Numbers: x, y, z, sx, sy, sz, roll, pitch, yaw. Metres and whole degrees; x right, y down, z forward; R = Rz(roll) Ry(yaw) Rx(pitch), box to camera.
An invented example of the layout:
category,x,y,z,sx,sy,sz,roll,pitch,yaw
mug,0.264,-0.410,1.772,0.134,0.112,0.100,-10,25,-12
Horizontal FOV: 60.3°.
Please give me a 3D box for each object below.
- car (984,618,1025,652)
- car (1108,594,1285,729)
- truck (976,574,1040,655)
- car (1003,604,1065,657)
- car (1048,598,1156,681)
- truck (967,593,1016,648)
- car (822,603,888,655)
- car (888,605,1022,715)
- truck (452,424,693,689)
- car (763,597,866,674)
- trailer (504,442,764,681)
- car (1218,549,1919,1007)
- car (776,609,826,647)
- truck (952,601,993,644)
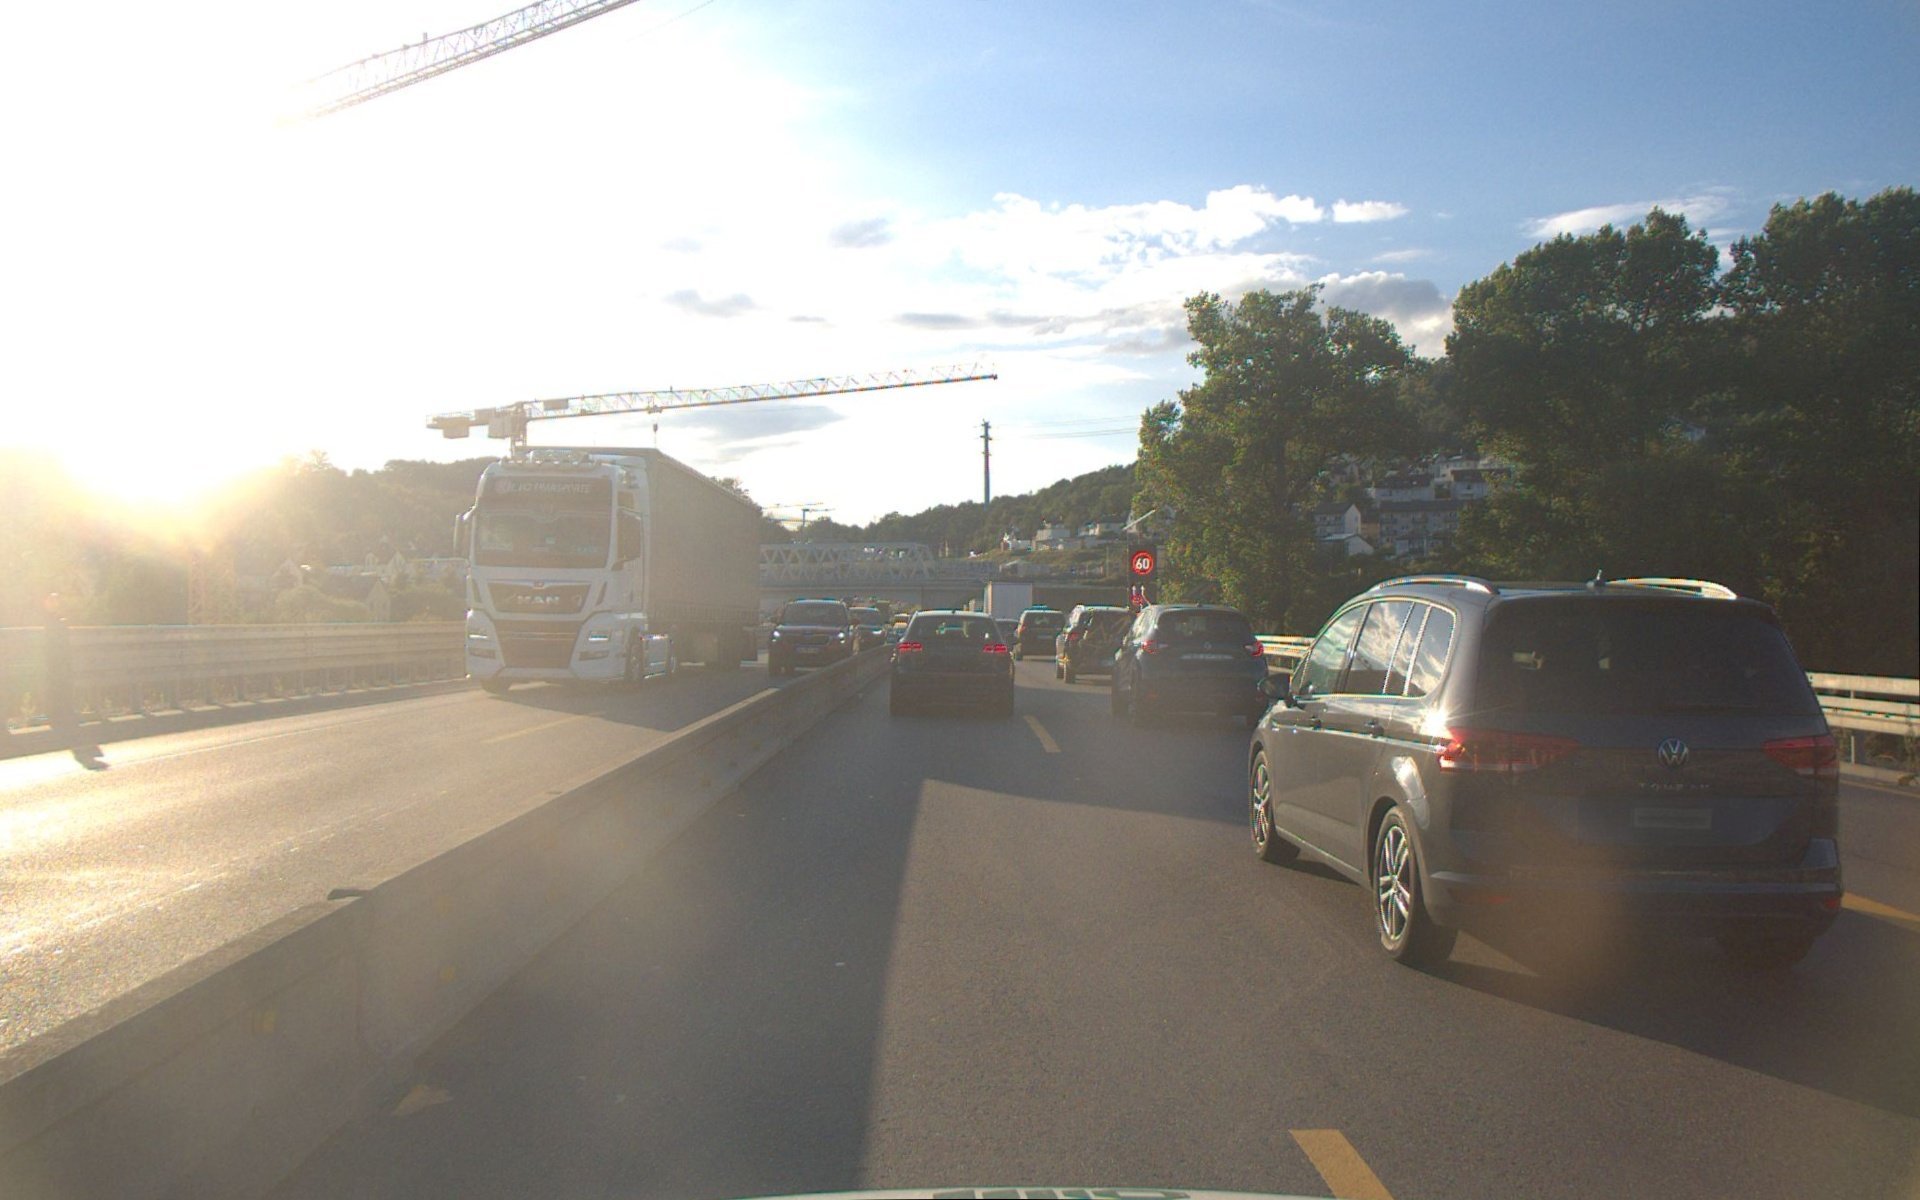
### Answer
category,x,y,z,sx,sy,sz,roll,pitch,yaw
car,2.159,1.717,81.067,1.734,1.580,3.998,2,-1,-2
car,3.083,0.773,22.346,1.738,1.614,4.134,1,-1,-1
truck,2.921,0.994,104.805,3.317,4.577,15.263,3,-1,0
car,2.434,1.015,55.379,1.778,1.661,4.409,1,-1,-1
car,2.928,0.840,35.040,1.837,1.627,4.964,0,-1,0
truck,2.668,1.730,145.773,3.811,4.577,15.263,1,0,-1
car,-3.563,0.992,56.746,1.953,1.673,4.511,1,-1,0
car,-0.139,0.819,23.696,1.734,1.414,3.998,1,-1,-2
truck,-6.469,-0.645,28.472,2.756,4.119,5.672,0,-1,0
car,-3.234,0.785,37.587,1.953,1.648,4.604,0,-1,0
trailer,-6.438,-0.588,35.483,2.756,4.122,14.020,0,-1,0
car,2.644,0.708,8.456,1.776,1.643,4.524,2,-1,-2
car,-6.313,1.095,65.963,1.666,1.471,3.999,0,-1,-1
truck,1.373,2.464,187.455,3.813,4.577,13.840,1,0,-3
